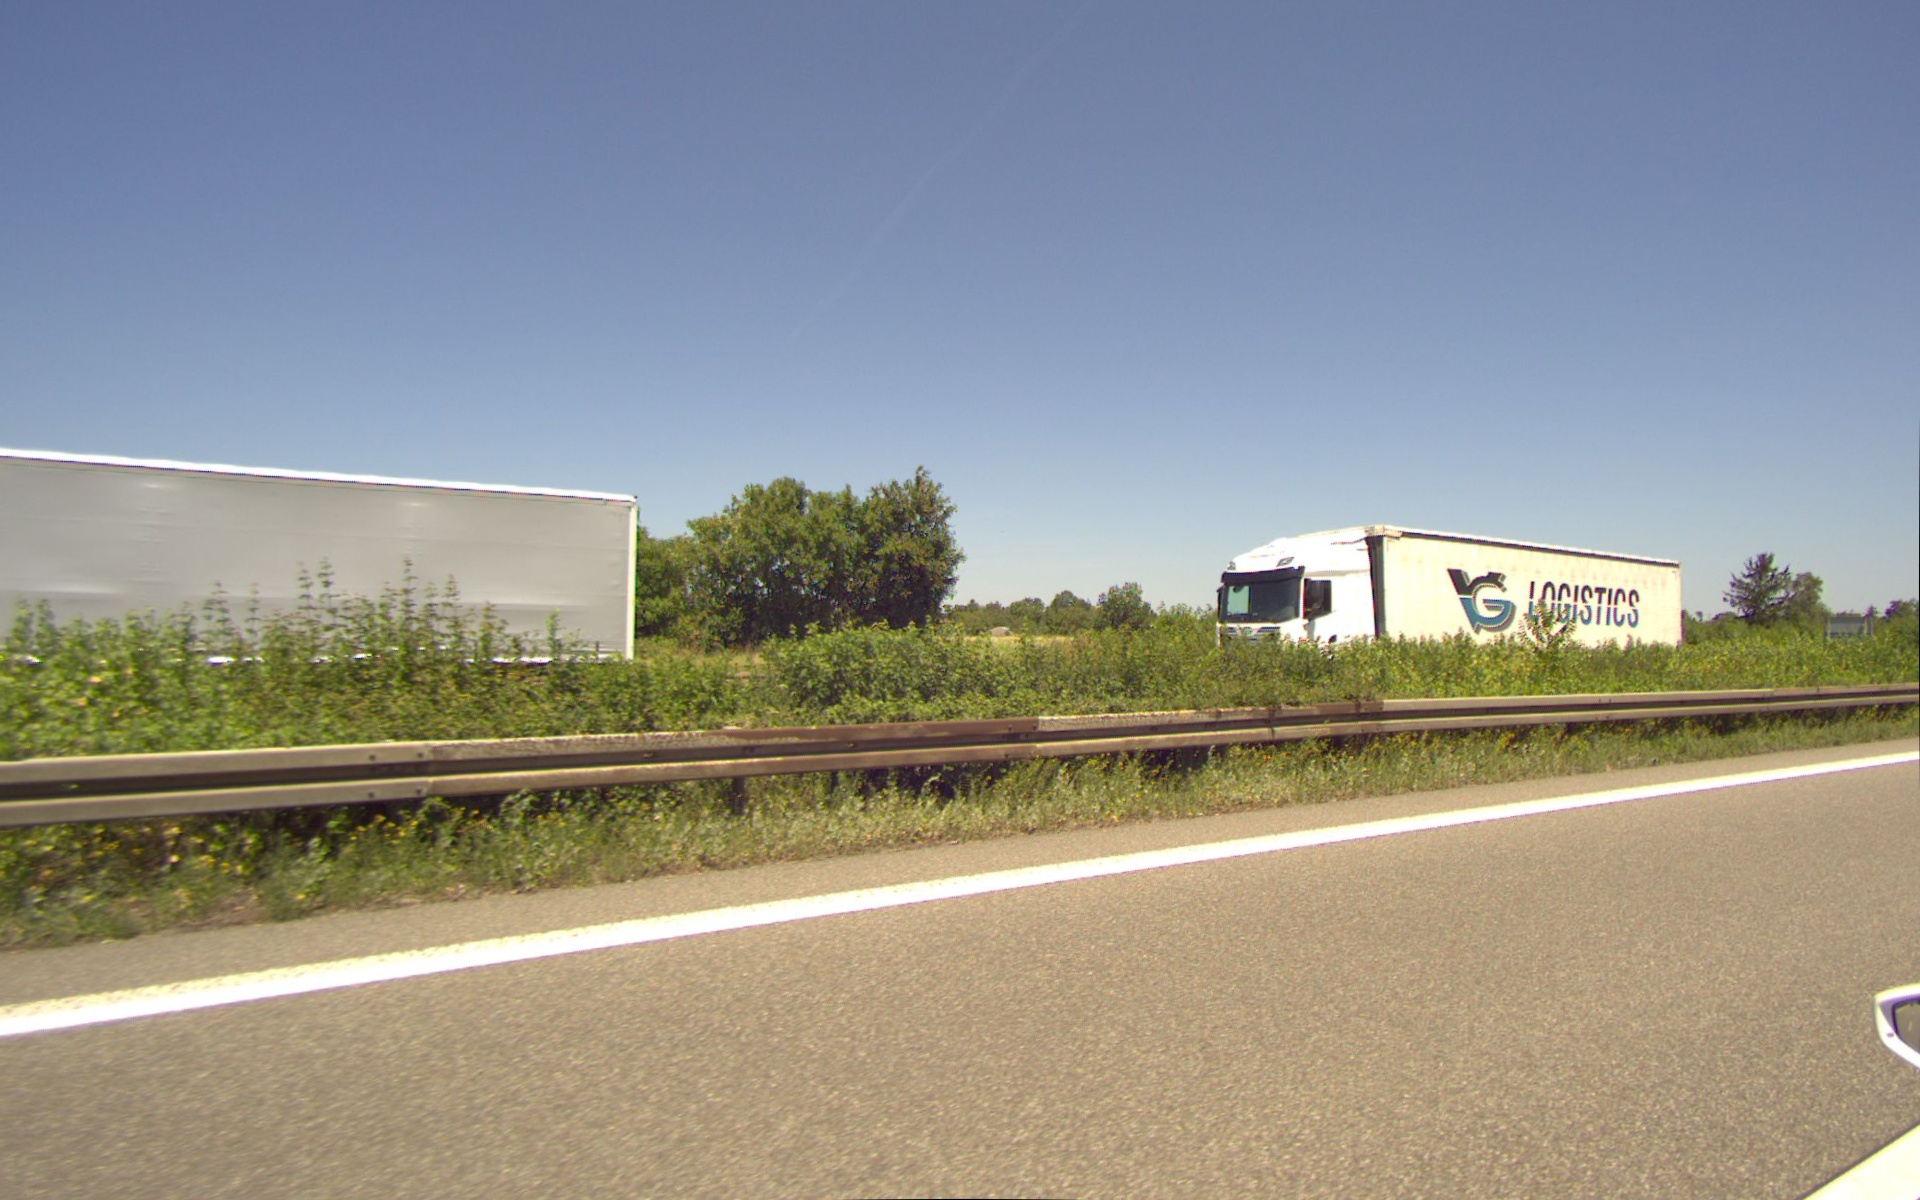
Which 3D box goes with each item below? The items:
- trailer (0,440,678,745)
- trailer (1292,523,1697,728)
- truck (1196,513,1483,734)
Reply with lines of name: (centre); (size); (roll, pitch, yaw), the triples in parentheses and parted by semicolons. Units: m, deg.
trailer: (-11.967, -0.066, 15.835); (14.157, 4.112, 2.940); (2, 0, -30)
trailer: (14.894, 0.747, 27.123); (13.704, 4.586, 2.807); (2, 0, -30)
truck: (8.996, 0.554, 23.647); (6.462, 4.587, 2.808); (2, 0, -30)
